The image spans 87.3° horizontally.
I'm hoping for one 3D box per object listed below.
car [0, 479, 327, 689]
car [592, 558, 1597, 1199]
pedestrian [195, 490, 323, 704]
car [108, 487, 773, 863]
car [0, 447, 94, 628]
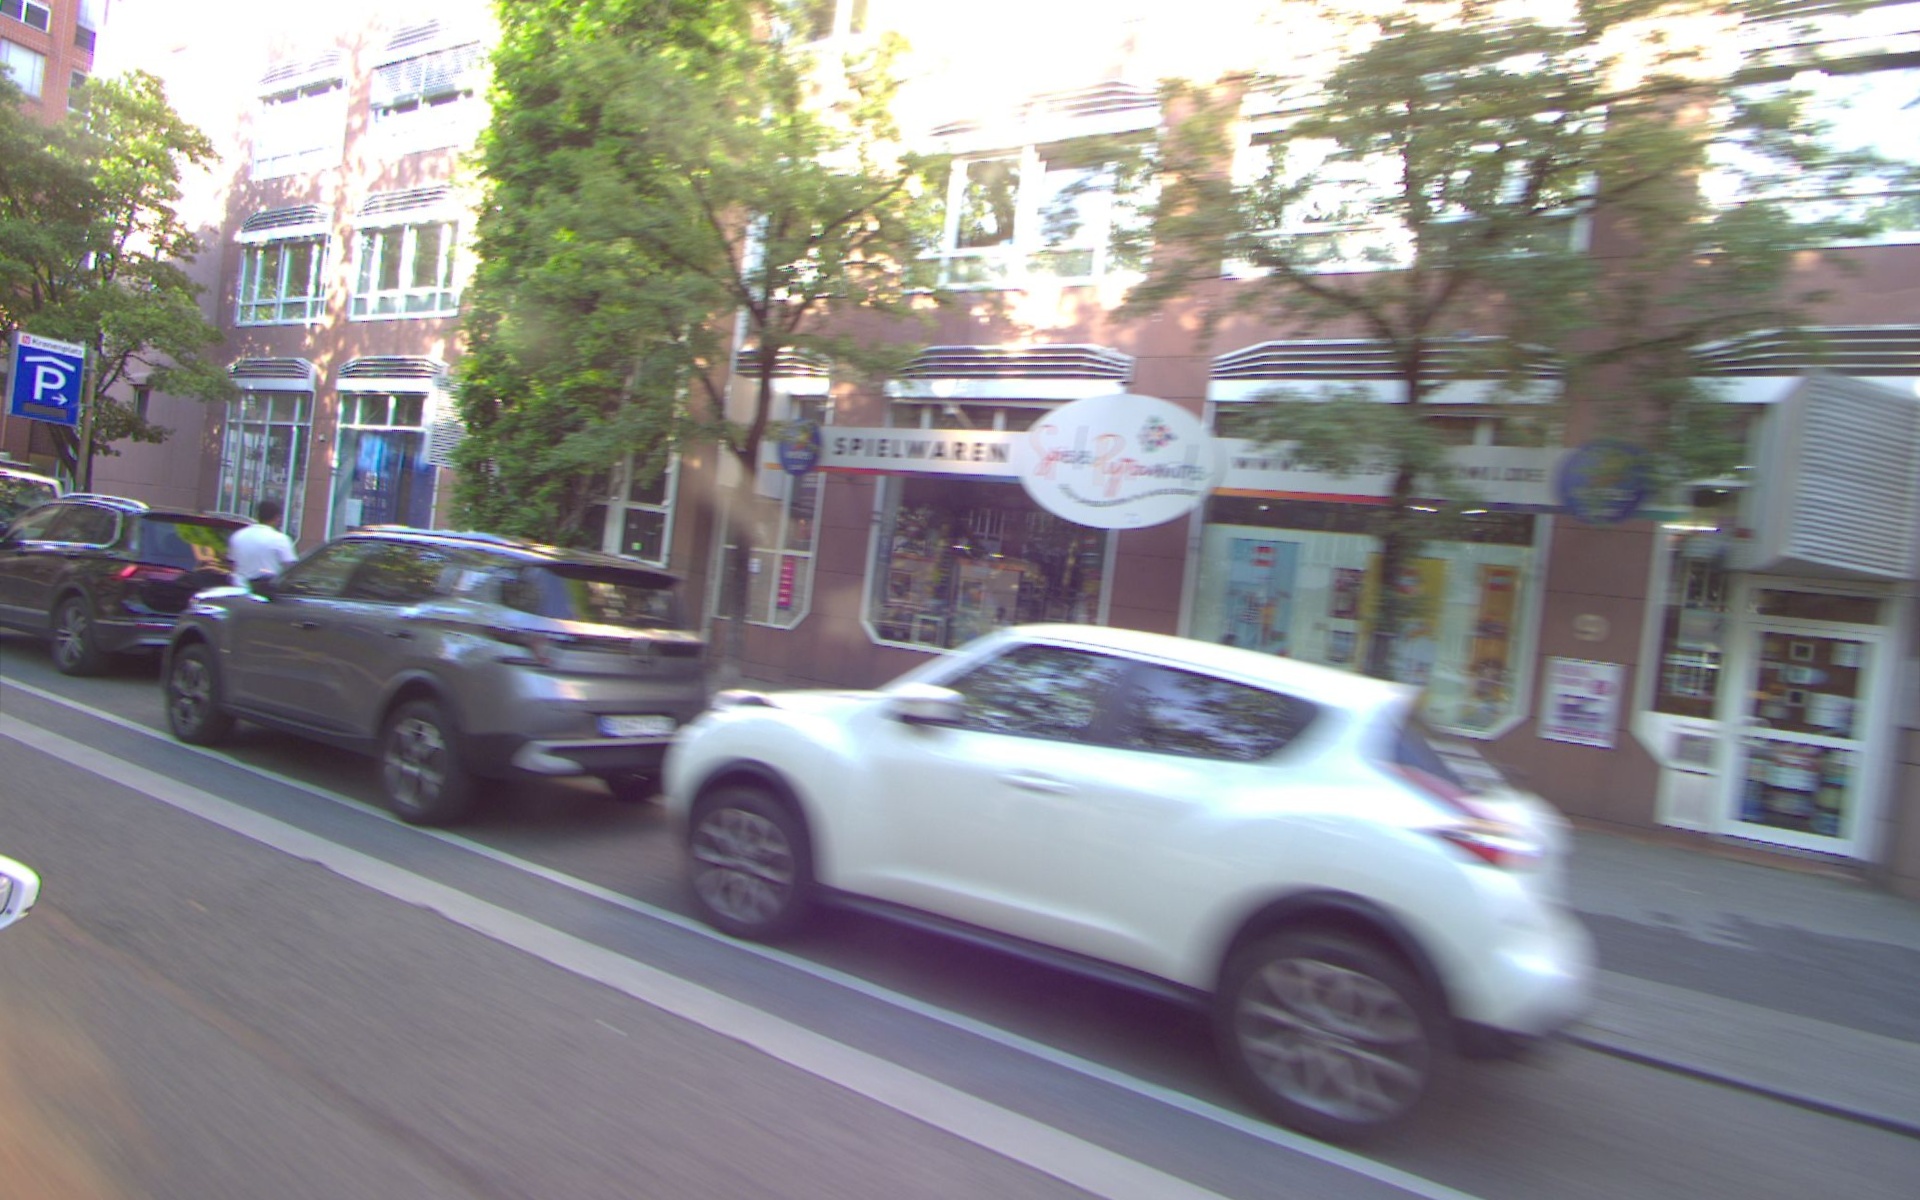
[{"bbox_3d":[-8.655,-0.230,10.283,4.127,1.690,1.791,7,0,29],"label":"car"},{"bbox_3d":[0.469,0.862,4.682,3.931,1.598,1.832,7,0,29],"label":"car"},{"bbox_3d":[-6.418,-0.024,9.248,0.654,1.835,0.712,6,1,-22],"label":"pedestrian"},{"bbox_3d":[-3.653,0.329,6.901,4.363,1.690,1.791,7,0,29],"label":"car"},{"bbox_3d":[-13.648,-1.020,13.001,5.081,2.104,1.922,7,0,29],"label":"car"}]
